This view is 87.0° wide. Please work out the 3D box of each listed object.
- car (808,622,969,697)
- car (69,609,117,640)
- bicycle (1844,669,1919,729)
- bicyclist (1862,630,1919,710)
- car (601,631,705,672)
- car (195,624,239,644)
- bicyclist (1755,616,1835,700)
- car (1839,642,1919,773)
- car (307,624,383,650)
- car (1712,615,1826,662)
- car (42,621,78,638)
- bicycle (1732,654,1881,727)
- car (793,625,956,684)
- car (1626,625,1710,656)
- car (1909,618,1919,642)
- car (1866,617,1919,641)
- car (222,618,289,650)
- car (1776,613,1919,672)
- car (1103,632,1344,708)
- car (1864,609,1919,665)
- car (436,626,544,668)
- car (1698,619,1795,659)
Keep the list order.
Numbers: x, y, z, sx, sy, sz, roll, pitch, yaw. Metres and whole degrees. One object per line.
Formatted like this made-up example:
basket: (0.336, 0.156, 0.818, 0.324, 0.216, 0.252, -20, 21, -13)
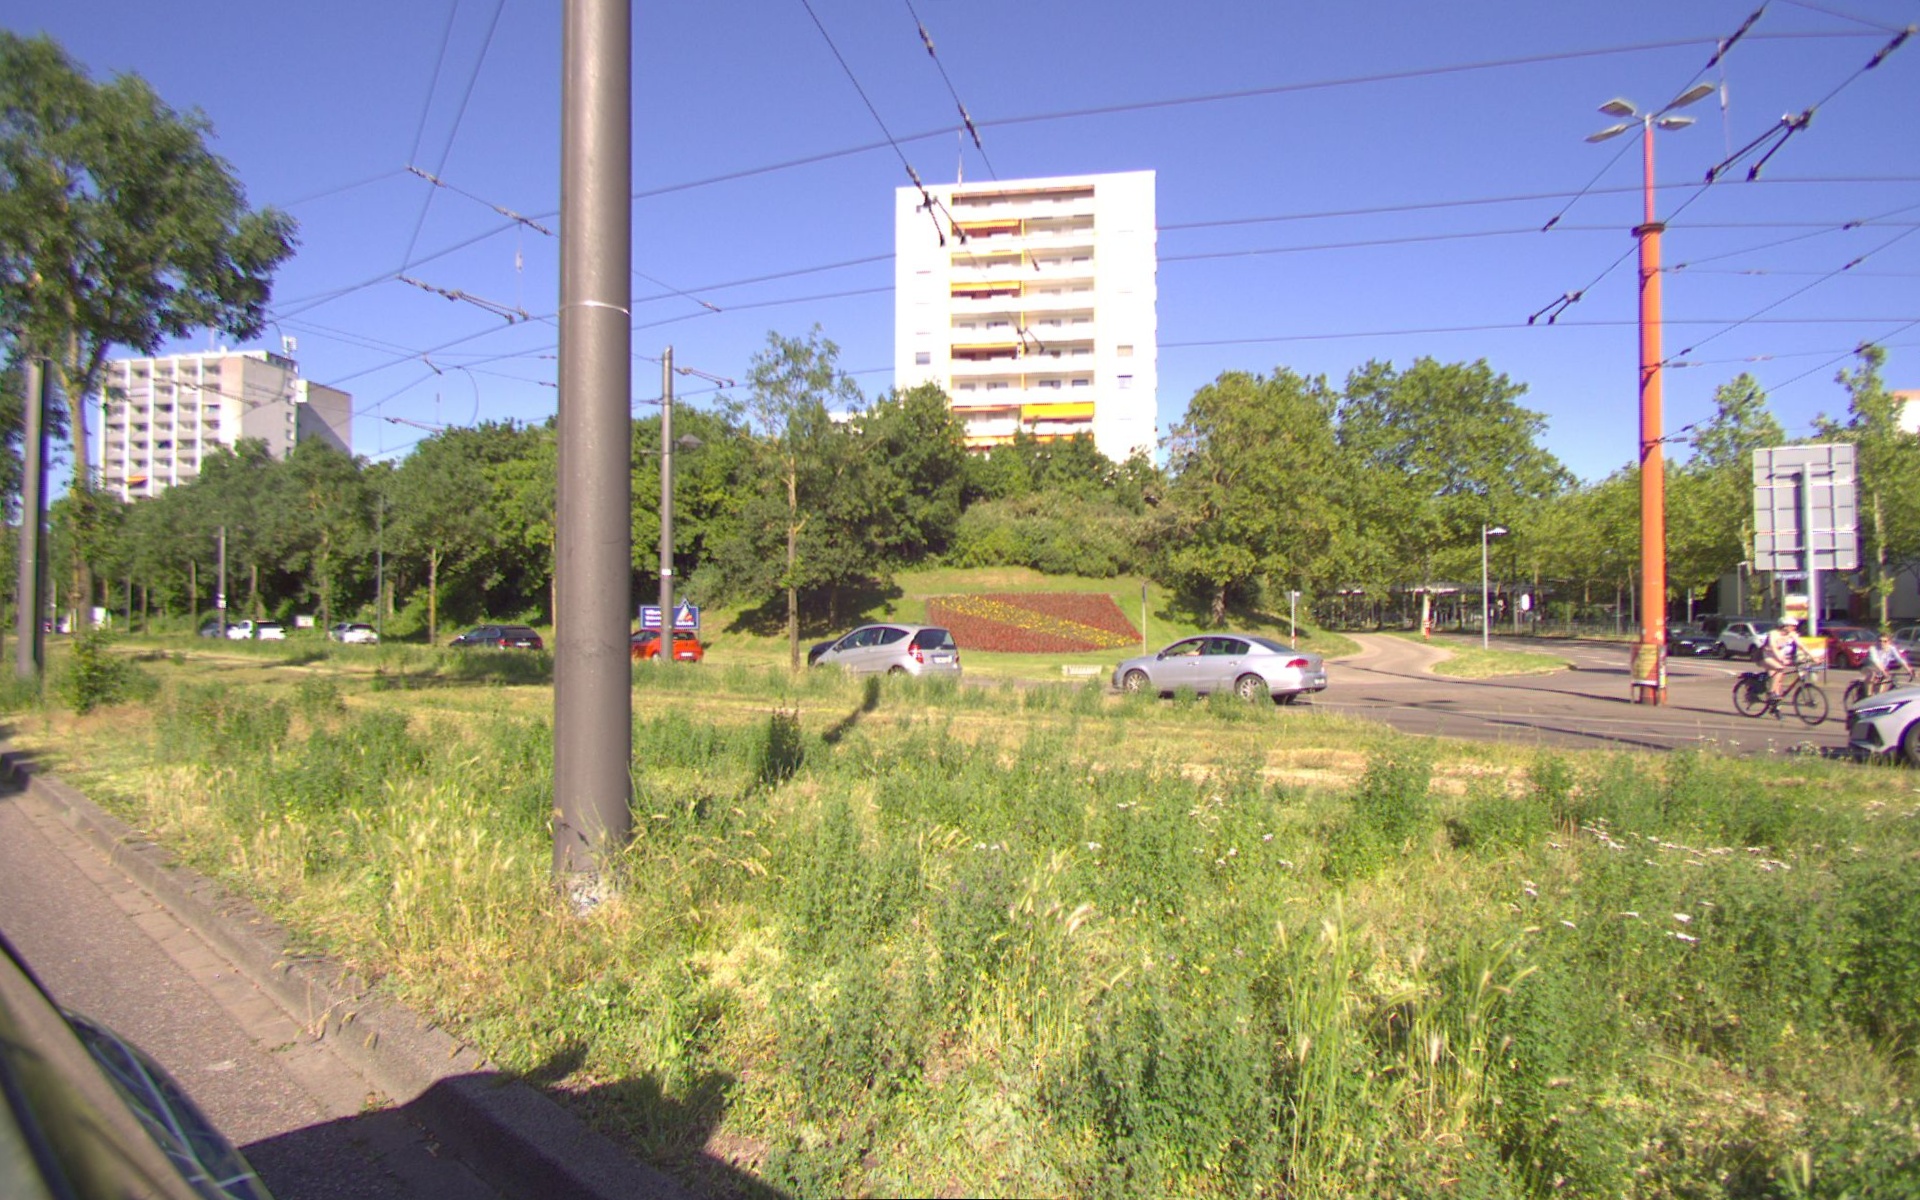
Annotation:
car: (-1.739, 1.341, 23.951, 3.759, 1.620, 1.743, -1, -2, 44)
car: (-71.264, 2.005, 83.143, 6.877, 2.387, 2.018, -1, -1, 41)
bicycle: (15.986, 1.680, 17.421, 0.364, 0.889, 1.621, -1, -1, 10)
bicyclist: (15.999, 1.184, 17.312, 0.543, 1.333, 0.698, -1, -1, 12)
car: (-10.960, 1.774, 35.979, 4.176, 1.307, 1.640, -1, -1, 42)
car: (-52.125, 2.377, 70.983, 4.000, 1.302, 1.778, -1, -1, 43)
bicyclist: (14.749, 1.002, 17.887, 0.741, 1.441, 0.758, -1, -1, -4)
car: (12.454, 1.193, 11.095, 4.182, 1.484, 1.572, -3, -5, 43)
car: (-34.299, 2.037, 56.401, 4.530, 1.408, 1.884, -1, -1, 33)
car: (32.682, 1.521, 41.051, 1.892, 1.763, 3.987, -1, -1, 10)
car: (-88.463, 2.852, 99.447, 5.270, 1.596, 1.973, -1, -1, 41)
bicycle: (14.742, 1.543, 17.733, 0.467, 1.089, 2.363, -1, -1, -4)
car: (-2.489, 1.476, 28.721, 4.629, 1.492, 1.973, -1, -1, 41)
car: (33.340, 1.898, 47.772, 1.717, 1.332, 3.987, -1, 0, 10)
car: (66.310, 2.011, 67.589, 1.864, 1.608, 4.010, 0, -1, -35)
car: (66.933, 2.037, 71.505, 1.864, 1.608, 4.010, 0, -1, -35)
car: (-39.241, 1.861, 56.328, 4.652, 1.634, 1.876, -1, -1, 40)
car: (30.885, 1.420, 35.257, 1.978, 1.915, 4.261, -1, -1, 10)
car: (5.607, 1.430, 21.904, 4.691, 1.443, 1.973, -1, -2, 41)
car: (33.985, 1.277, 35.055, 1.978, 1.915, 4.261, -1, -1, 10)
car: (-17.734, 1.713, 38.067, 4.990, 1.420, 1.972, -1, -1, 43)
car: (36.594, 1.777, 47.212, 1.892, 1.763, 3.987, -1, -1, 10)
